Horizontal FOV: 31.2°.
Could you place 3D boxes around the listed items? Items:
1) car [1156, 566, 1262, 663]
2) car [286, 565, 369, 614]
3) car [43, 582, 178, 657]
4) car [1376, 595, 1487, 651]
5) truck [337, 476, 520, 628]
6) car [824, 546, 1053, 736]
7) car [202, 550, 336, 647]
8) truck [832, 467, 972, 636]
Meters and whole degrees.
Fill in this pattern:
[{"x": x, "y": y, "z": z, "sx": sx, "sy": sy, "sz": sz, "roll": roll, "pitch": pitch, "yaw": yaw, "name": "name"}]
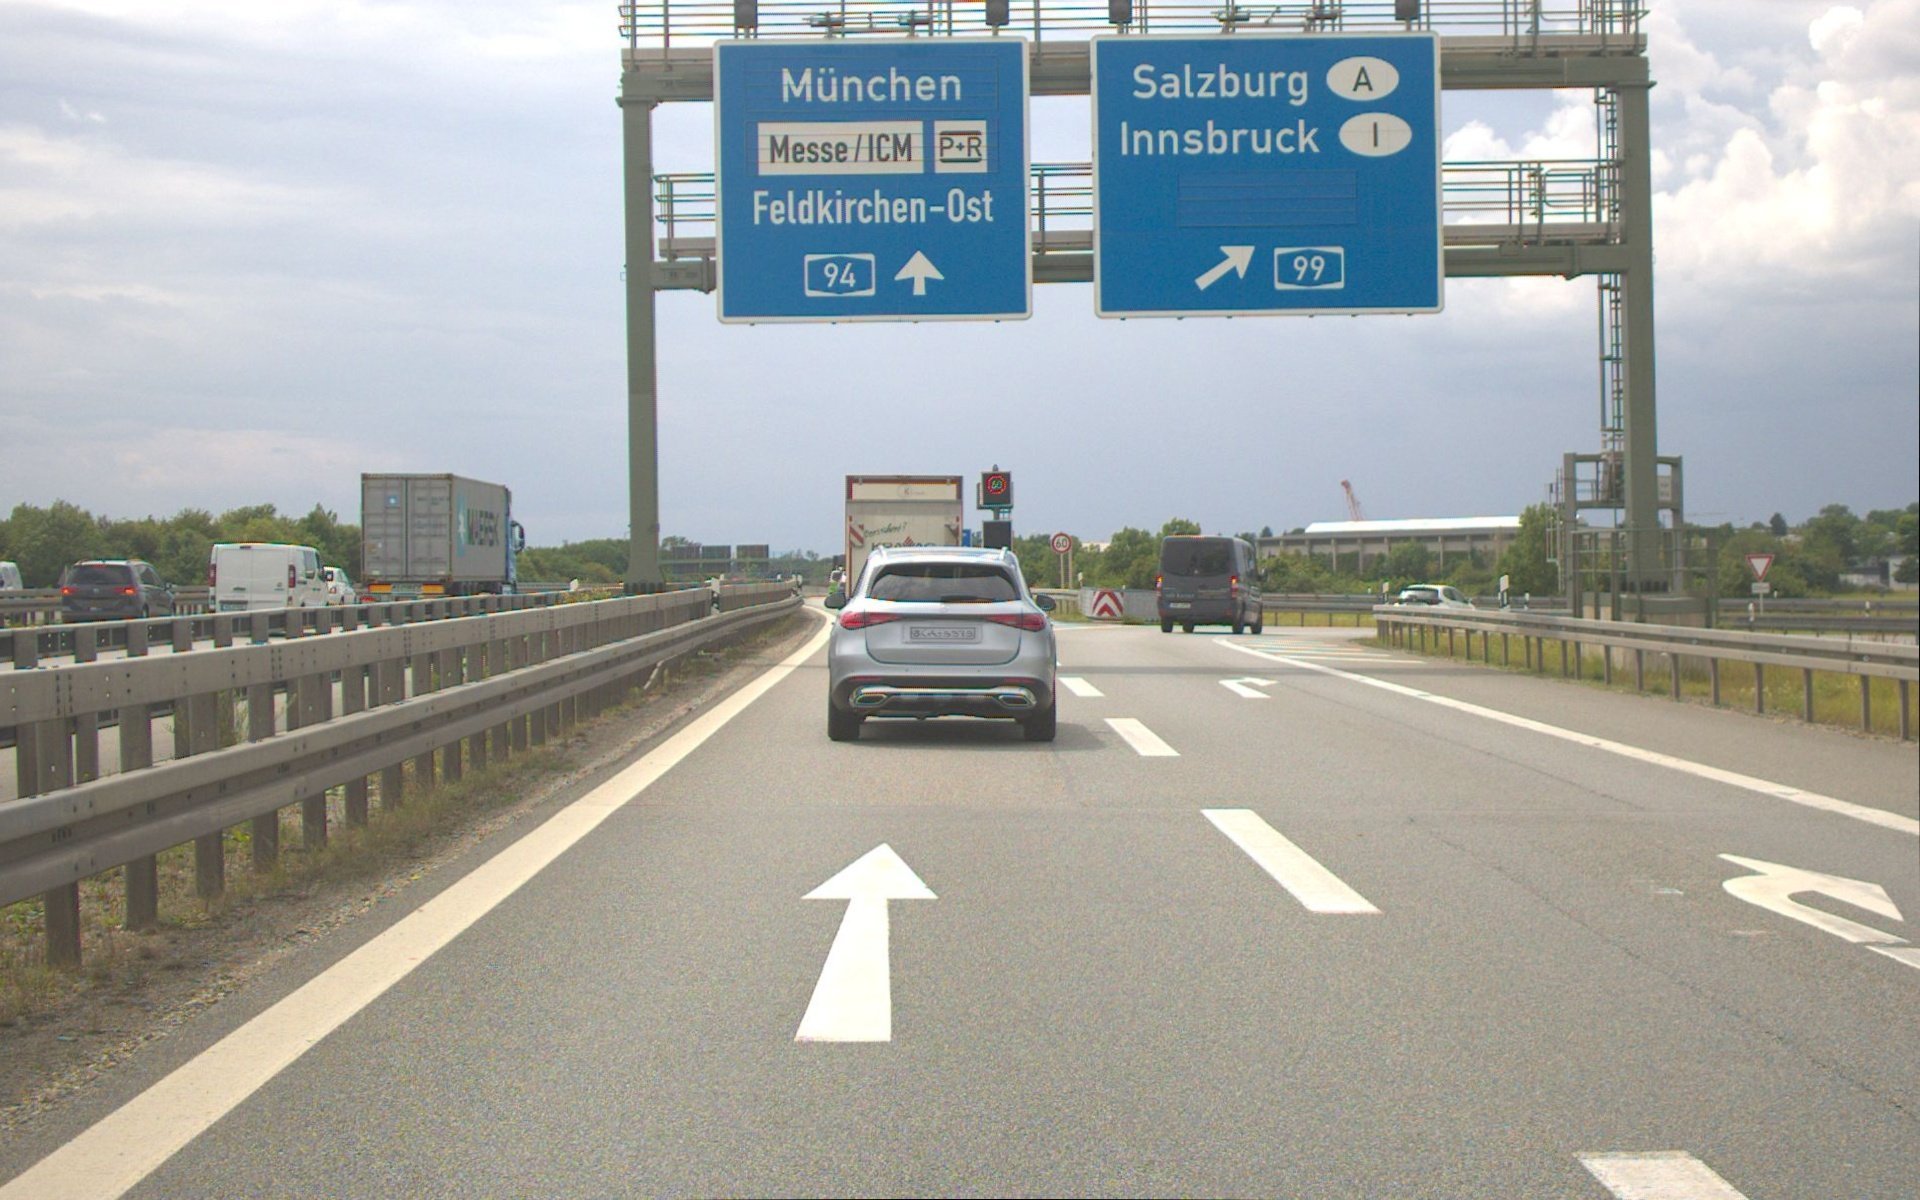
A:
[{"x": 6.065, "y": 0.313, "z": 83.235, "sx": 1.907, "sy": 2.254, "sz": 4.646, "roll": 1, "pitch": 1, "yaw": 12, "name": "car"}, {"x": -19.052, "y": -0.326, "z": 103.647, "sx": 1.797, "sy": 1.415, "sz": 4.000, "roll": 1, "pitch": 1, "yaw": -1, "name": "car"}, {"x": -18.647, "y": 0.406, "z": 75.659, "sx": 1.881, "sy": 1.541, "sz": 4.615, "roll": 1, "pitch": 1, "yaw": -1, "name": "car"}, {"x": 14.966, "y": 0.699, "z": 108.946, "sx": 1.997, "sy": 1.703, "sz": 3.993, "roll": 1, "pitch": 1, "yaw": 32, "name": "car"}, {"x": -15.159, "y": -1.361, "z": 99.454, "sx": 3.183, "sy": 4.005, "sz": 16.076, "roll": 1, "pitch": 1, "yaw": -1, "name": "truck"}, {"x": -0.182, "y": 0.308, "z": 29.563, "sx": 1.819, "sy": 1.509, "sz": 4.000, "roll": 1, "pitch": 1, "yaw": 0, "name": "car"}, {"x": -14.788, "y": -0.056, "z": 73.787, "sx": 1.993, "sy": 2.007, "sz": 4.374, "roll": 1, "pitch": 1, "yaw": 0, "name": "car"}, {"x": -1.112, "y": -0.857, "z": 68.336, "sx": 2.569, "sy": 3.115, "sz": 8.634, "roll": 1, "pitch": -1, "yaw": 0, "name": "truck"}]
